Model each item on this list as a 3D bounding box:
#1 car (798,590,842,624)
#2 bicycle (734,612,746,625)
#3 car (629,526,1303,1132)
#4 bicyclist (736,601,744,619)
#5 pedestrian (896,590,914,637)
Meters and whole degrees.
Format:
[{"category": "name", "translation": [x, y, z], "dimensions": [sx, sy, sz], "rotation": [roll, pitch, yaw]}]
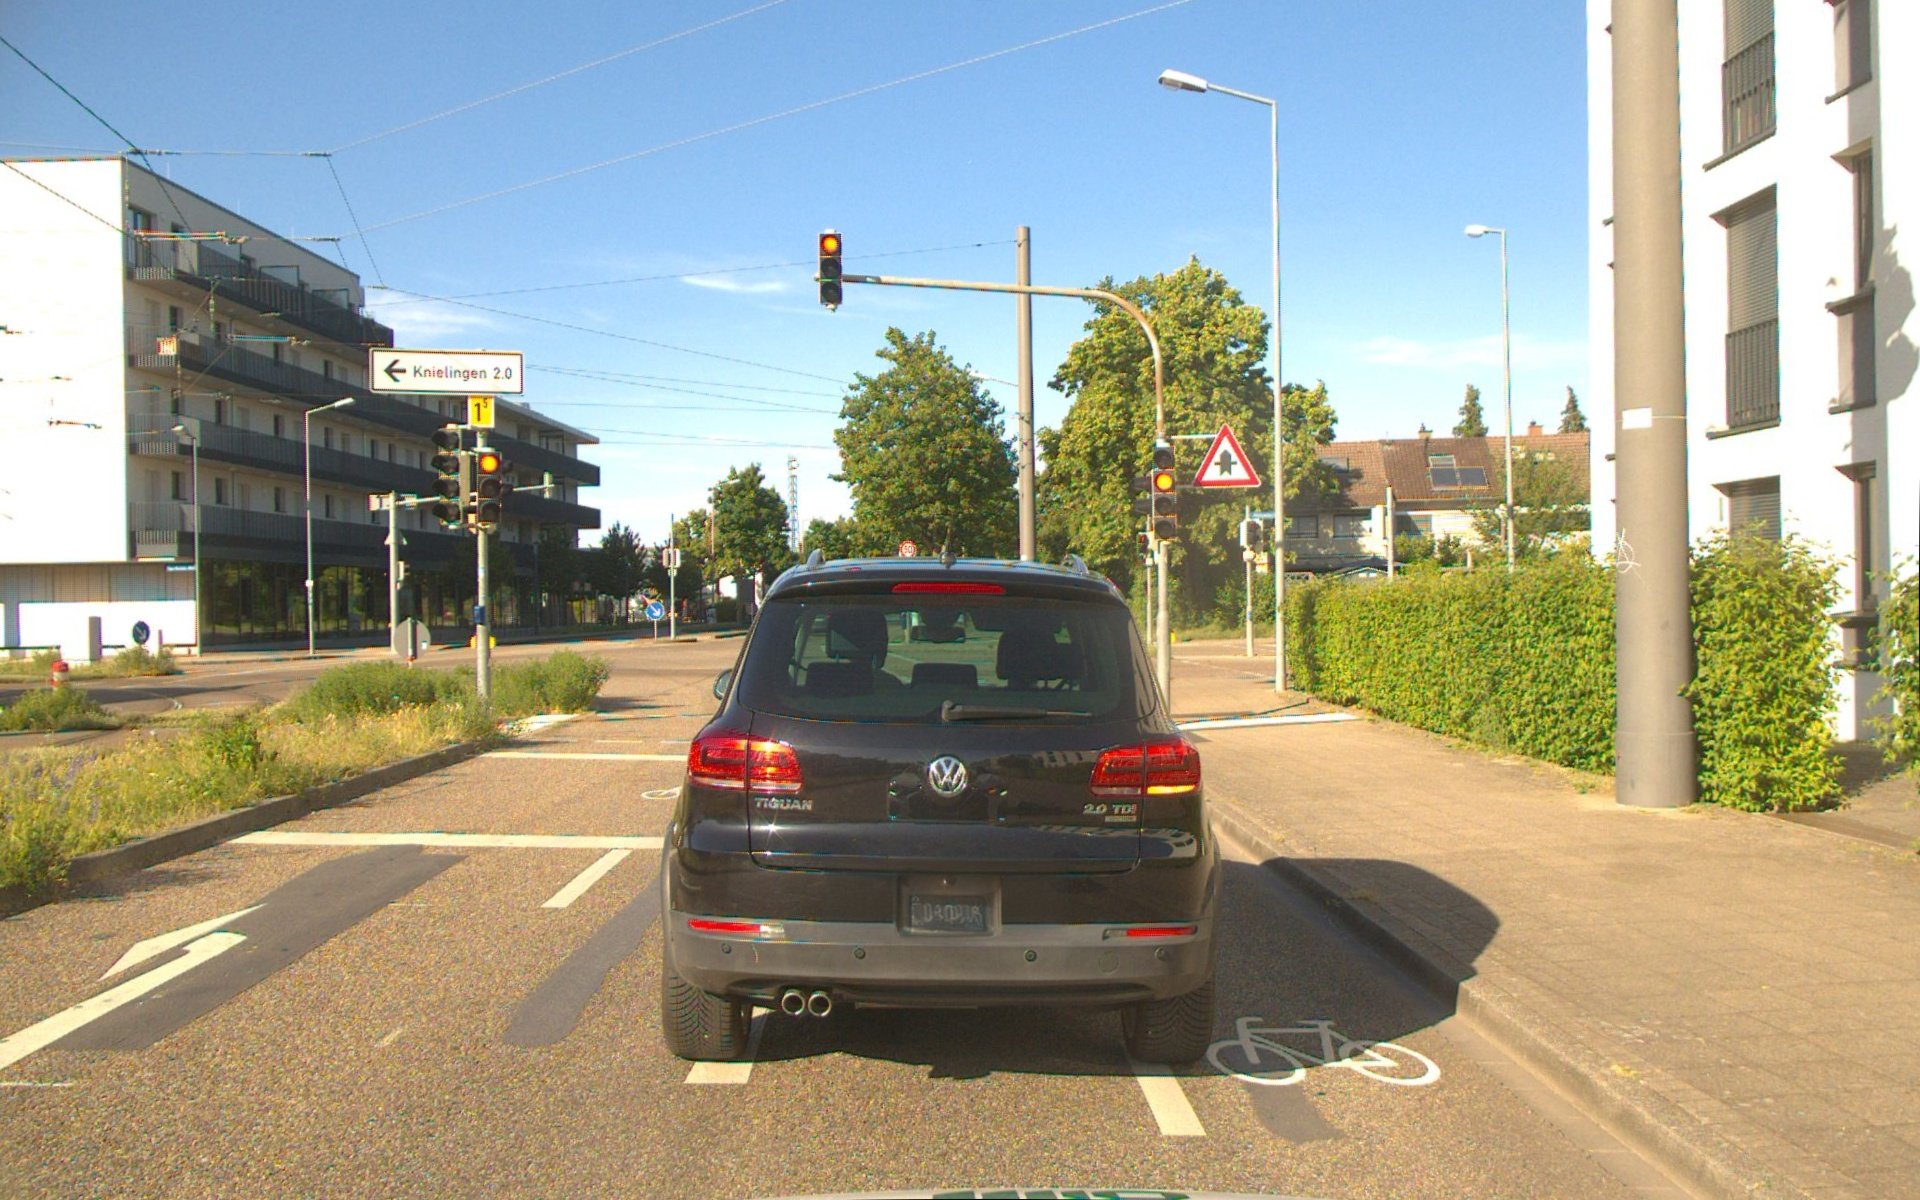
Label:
[{"category": "car", "translation": [-6.181, 0.294, 73.222], "dimensions": [1.716, 1.411, 3.998], "rotation": [0, 0, -2]}, {"category": "bicycle", "translation": [-15.878, 1.344, 119.283], "dimensions": [0.485, 0.863, 2.079], "rotation": [0, 0, 3]}, {"category": "car", "translation": [-0.045, 0.629, 6.606], "dimensions": [1.867, 1.671, 3.998], "rotation": [0, 0, -2]}, {"category": "bicyclist", "translation": [-15.876, 0.729, 119.339], "dimensions": [0.464, 1.245, 0.713], "rotation": [0, 0, 3]}, {"category": "pedestrian", "translation": [-1.994, 0.478, 59.773], "dimensions": [0.590, 1.668, 0.529], "rotation": [0, 0, 4]}]
